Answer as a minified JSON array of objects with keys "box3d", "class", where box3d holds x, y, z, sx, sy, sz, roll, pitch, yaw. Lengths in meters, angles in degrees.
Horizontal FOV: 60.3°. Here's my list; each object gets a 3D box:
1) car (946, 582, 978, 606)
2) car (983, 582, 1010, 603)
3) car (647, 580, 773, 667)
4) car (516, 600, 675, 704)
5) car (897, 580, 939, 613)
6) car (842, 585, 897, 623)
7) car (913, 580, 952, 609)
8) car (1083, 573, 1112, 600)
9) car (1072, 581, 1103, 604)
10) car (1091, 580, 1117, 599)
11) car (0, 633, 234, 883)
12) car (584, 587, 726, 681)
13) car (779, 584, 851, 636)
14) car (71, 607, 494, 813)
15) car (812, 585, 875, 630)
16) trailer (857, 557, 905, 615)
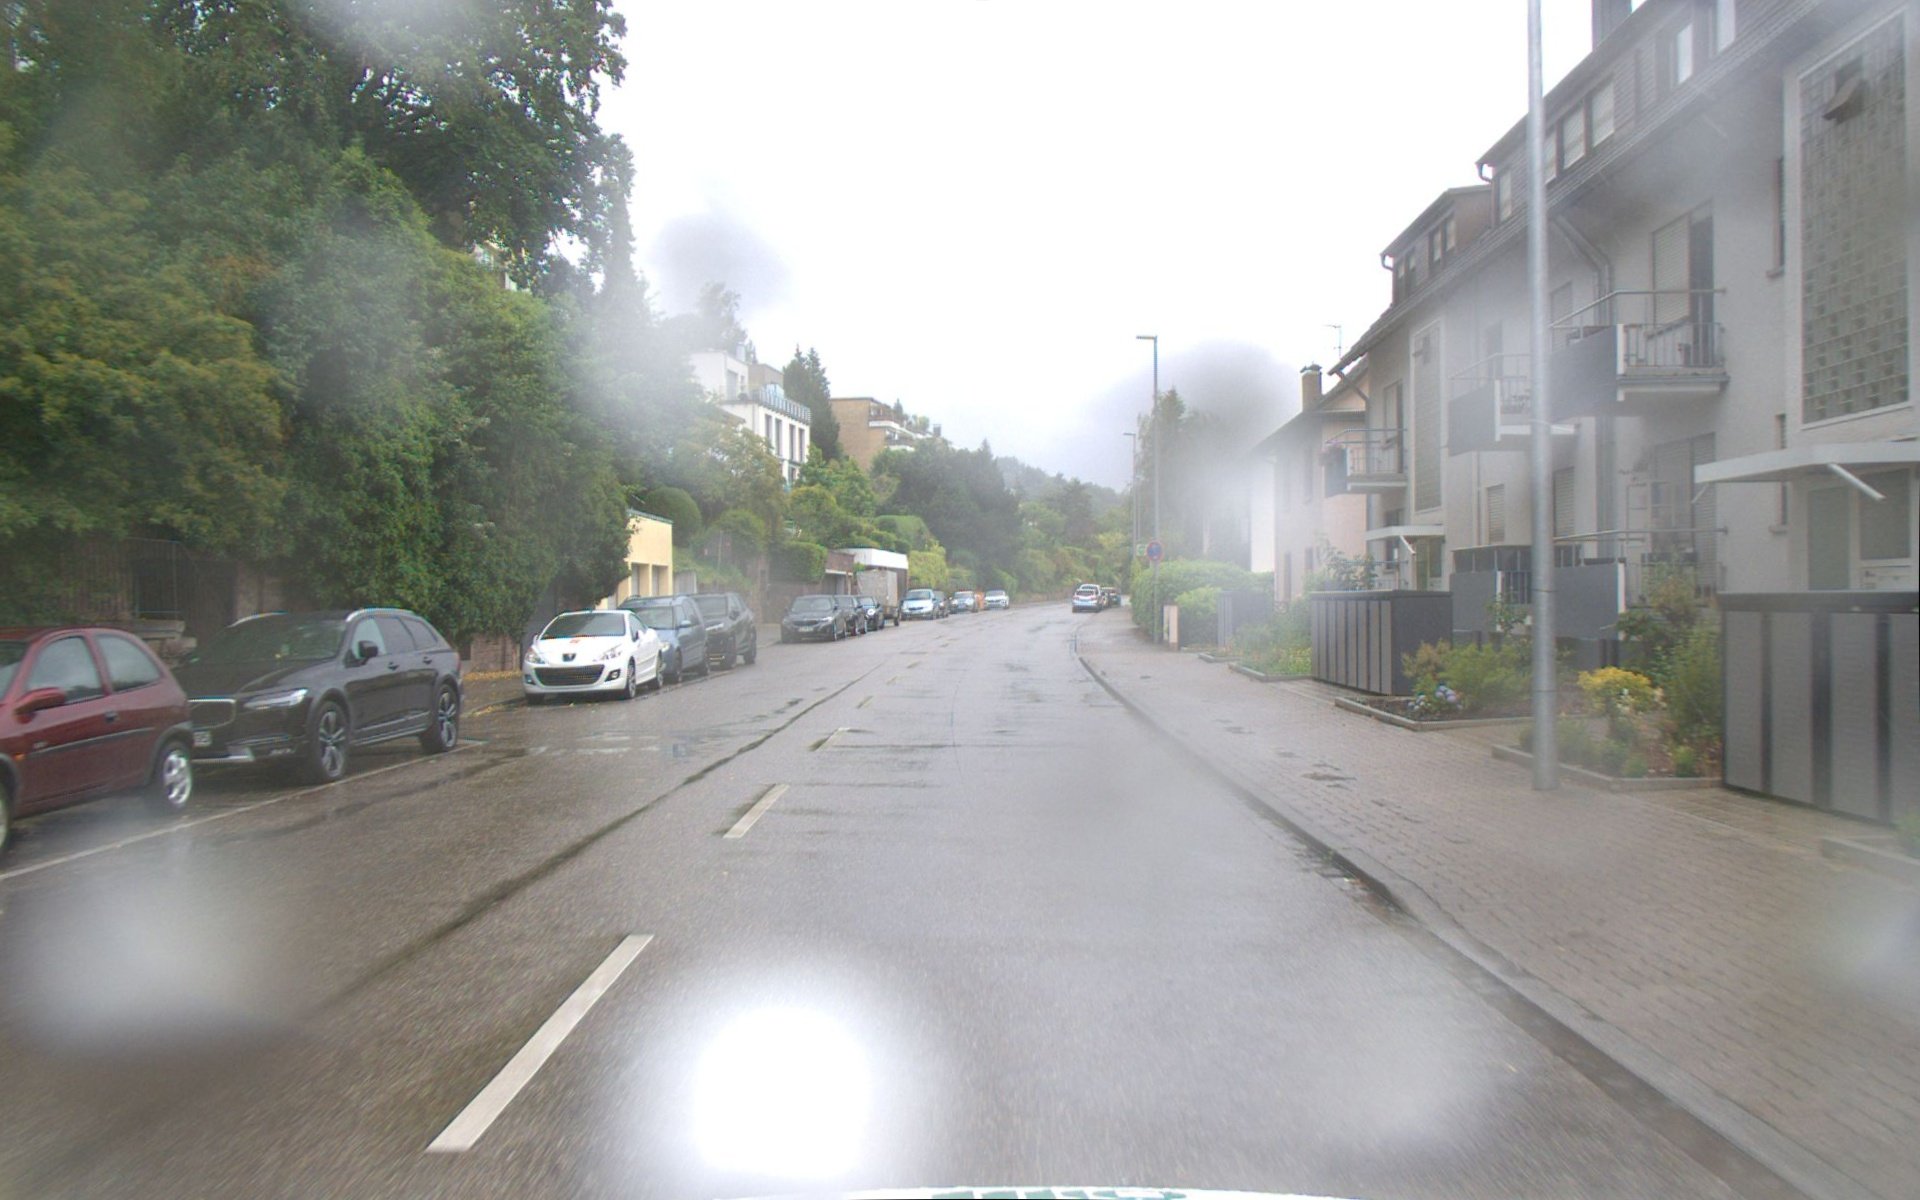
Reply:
[{"box3d":[0.152,-0.430,110.456,1.719,1.427,3.772,-3,1,5],"class":"car"},{"box3d":[2.848,-0.609,129.458,1.718,1.524,4.223,-2,0,6],"class":"car"},{"box3d":[-5.508,0.461,37.071,1.835,1.654,4.595,-4,1,3],"class":"car"},{"box3d":[-5.913,0.796,27.281,1.681,1.389,4.083,-3,1,-1],"class":"car"},{"box3d":[-2.214,-0.208,87.743,1.719,1.565,3.759,-4,1,5],"class":"car"},{"box3d":[-3.701,0.142,67.928,1.770,1.372,3.778,-2,1,3],"class":"car"},{"box3d":[-1.528,-0.340,93.212,1.719,1.433,3.707,-4,1,5],"class":"car"},{"box3d":[9.609,-0.935,115.199,1.746,1.821,4.365,0,1,8],"class":"car"},{"box3d":[8.463,-0.535,109.898,1.751,1.485,4.312,0,1,8],"class":"car"},{"box3d":[10.623,-0.786,121.876,1.673,1.427,4.207,0,1,8],"class":"car"},{"box3d":[-6.479,1.005,11.007,1.532,1.388,3.907,-3,0,0],"class":"car"},{"box3d":[-5.843,0.610,32.183,1.705,1.588,4.111,-3,1,3],"class":"car"},{"box3d":[-4.782,0.299,55.146,1.748,1.480,4.757,-3,1,2],"class":"car"},{"box3d":[-6.185,0.906,15.836,1.869,1.506,4.757,-4,0,2],"class":"car"},{"box3d":[-4.261,0.249,61.081,1.748,1.439,4.220,-2,1,3],"class":"car"},{"box3d":[-3.466,-0.648,73.305,1.504,2.441,3.075,-3,1,7],"class":"trailer"}]
